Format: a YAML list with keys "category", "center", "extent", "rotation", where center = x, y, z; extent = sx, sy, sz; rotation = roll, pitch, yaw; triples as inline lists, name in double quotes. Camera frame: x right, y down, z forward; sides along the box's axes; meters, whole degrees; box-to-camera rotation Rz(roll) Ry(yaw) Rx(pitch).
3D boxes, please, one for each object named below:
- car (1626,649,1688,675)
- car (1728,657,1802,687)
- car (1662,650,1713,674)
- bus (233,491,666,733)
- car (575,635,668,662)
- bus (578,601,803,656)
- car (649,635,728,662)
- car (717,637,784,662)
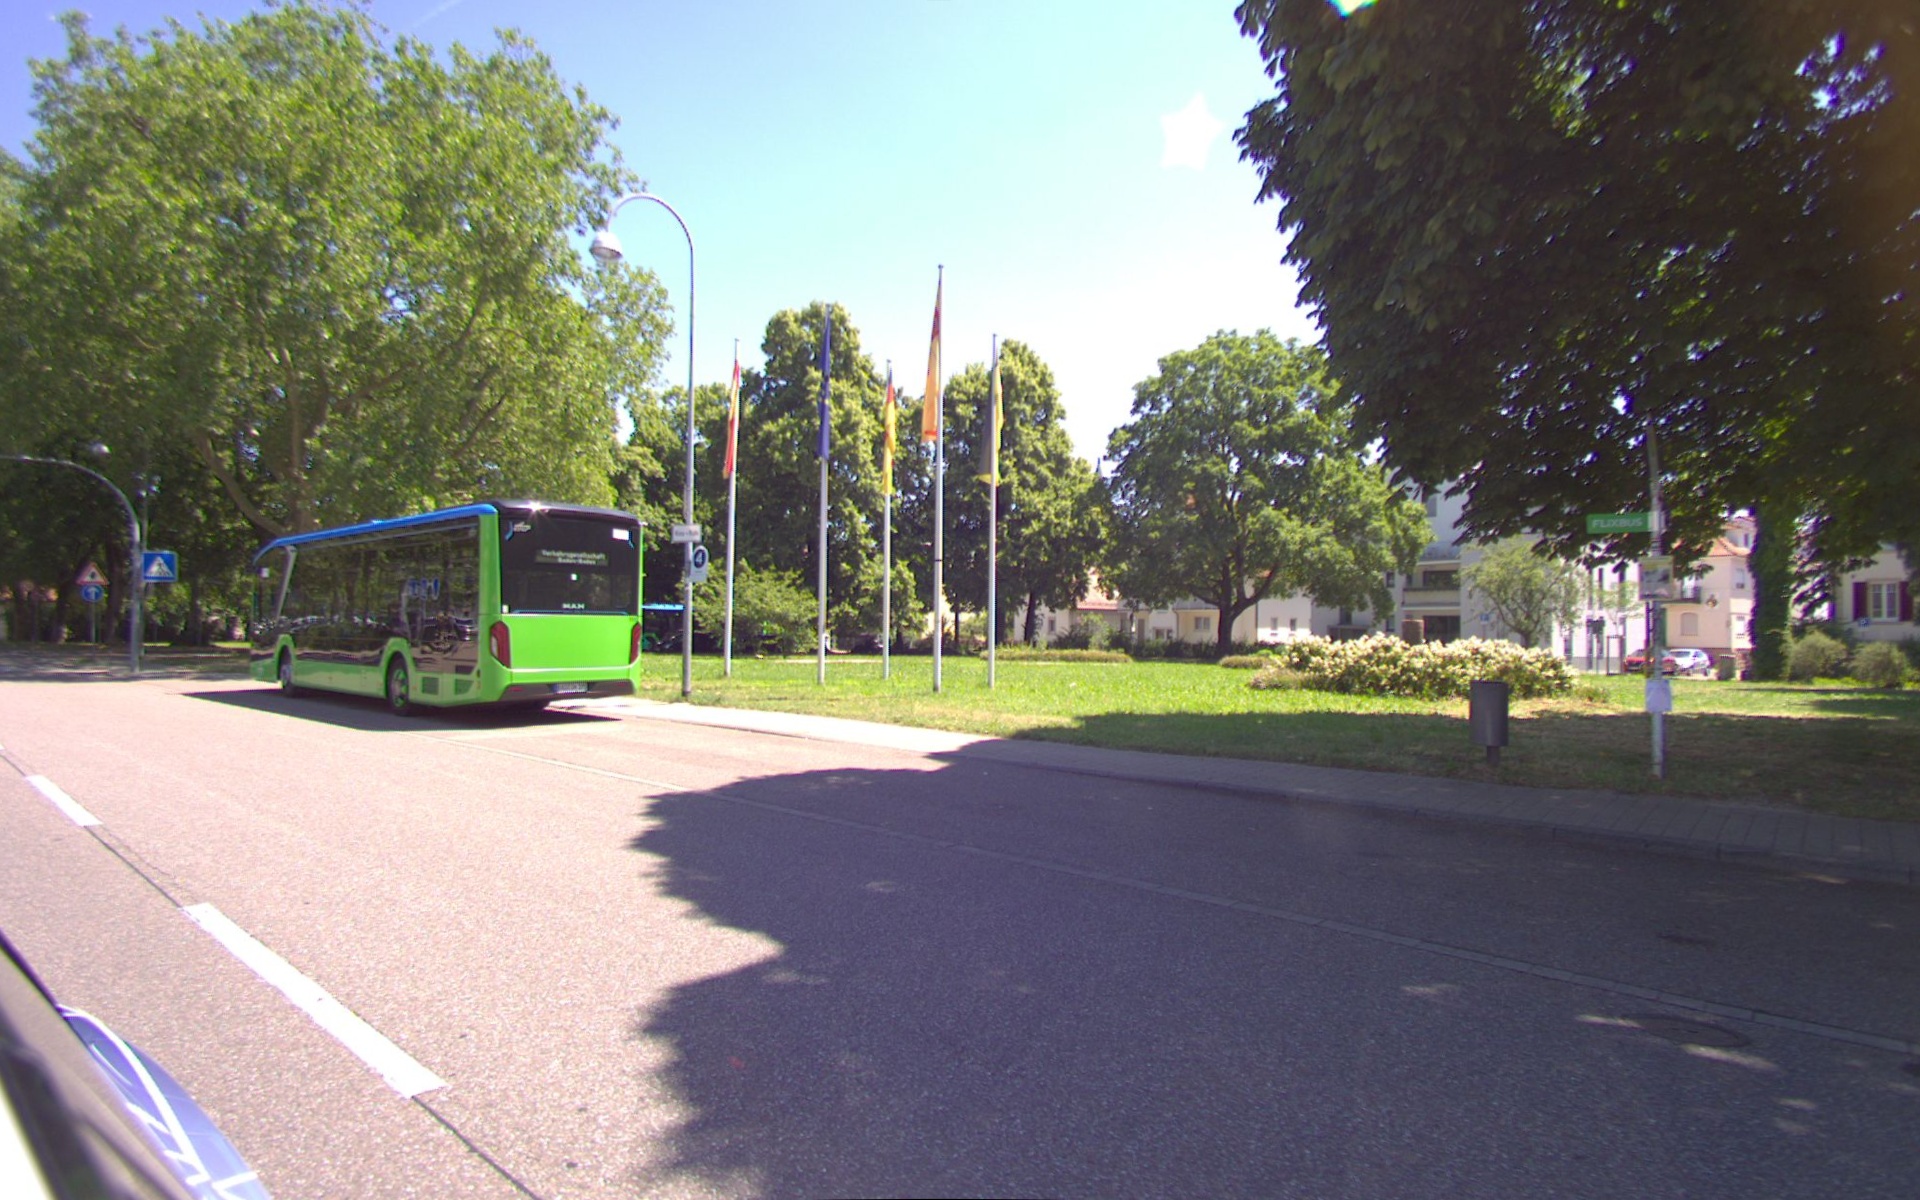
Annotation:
- category: "car"
  center: [38.772, 3.411, 56.298]
  extent: [3.980, 1.360, 1.642]
  rotation: [2, -2, -36]
- category: "car"
  center: [39.685, 3.534, 49.861]
  extent: [3.978, 1.360, 1.642]
  rotation: [2, -2, -33]
- category: "car"
  center: [42.497, 3.614, 59.087]
  extent: [3.315, 1.360, 1.431]
  rotation: [2, -2, -36]
- category: "bus"
  center: [-10.221, 0.309, 18.983]
  extent: [12.419, 3.308, 2.779]
  rotation: [-1, -3, 41]
- category: "car"
  center: [-19.097, 2.723, 57.255]
  extent: [1.755, 1.450, 4.704]
  rotation: [-1, -3, 41]
- category: "bus"
  center: [-17.558, 2.074, 68.086]
  extent: [2.876, 3.320, 15.731]
  rotation: [-1, -3, 41]
- category: "car"
  center: [-16.116, 2.885, 60.239]
  extent: [1.759, 1.504, 4.316]
  rotation: [-1, -3, 41]
- category: "car"
  center: [-13.128, 3.103, 63.658]
  extent: [1.759, 1.504, 3.864]
  rotation: [-1, -3, 41]
